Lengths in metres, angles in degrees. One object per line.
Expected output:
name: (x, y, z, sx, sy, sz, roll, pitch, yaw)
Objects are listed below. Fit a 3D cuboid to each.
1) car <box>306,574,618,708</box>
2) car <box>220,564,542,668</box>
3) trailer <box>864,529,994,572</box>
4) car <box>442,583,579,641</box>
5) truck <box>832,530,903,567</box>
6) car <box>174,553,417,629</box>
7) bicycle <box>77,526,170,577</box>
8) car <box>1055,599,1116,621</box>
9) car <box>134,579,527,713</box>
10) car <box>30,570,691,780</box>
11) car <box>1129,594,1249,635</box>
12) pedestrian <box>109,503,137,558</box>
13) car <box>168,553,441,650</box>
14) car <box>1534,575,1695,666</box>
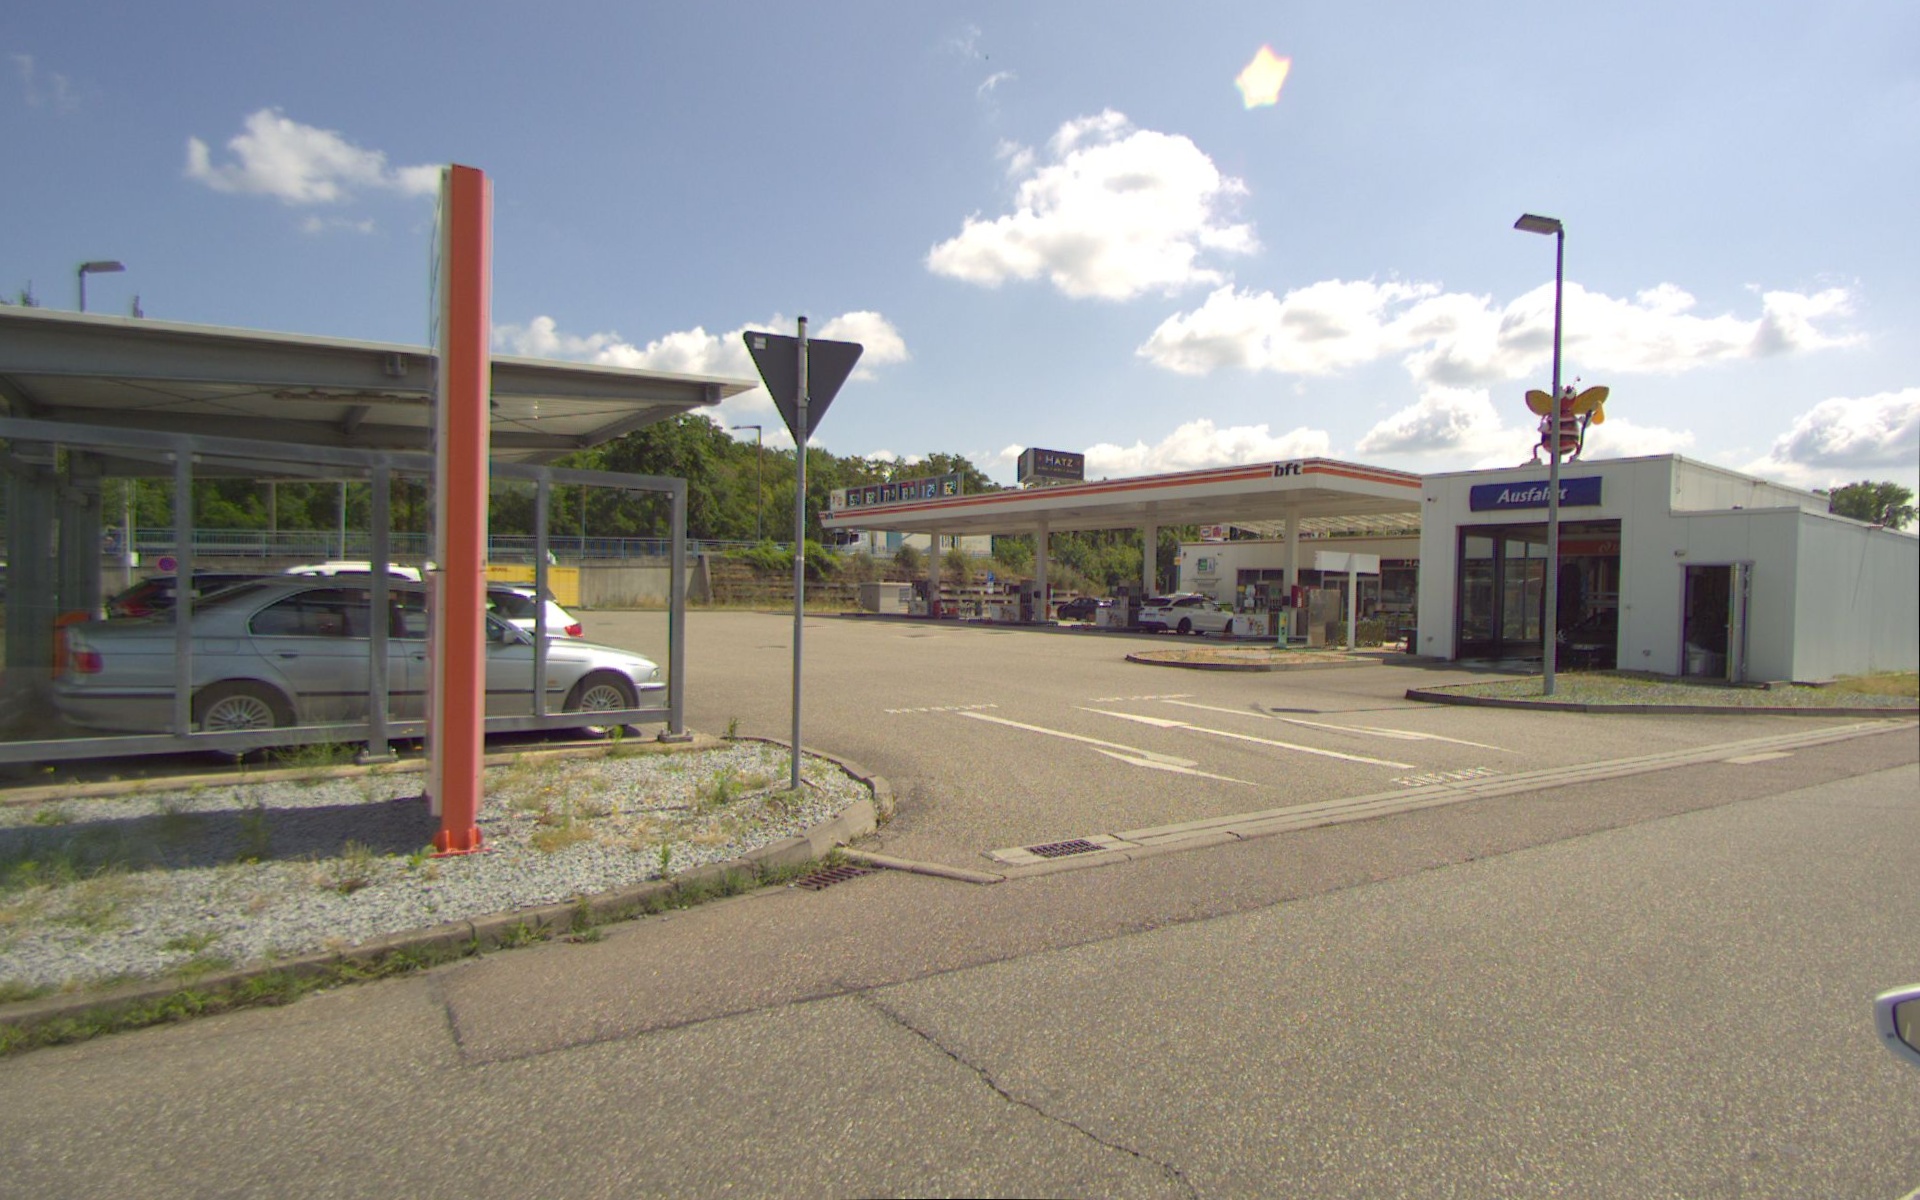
car: (-5.831, 0.438, 11.851, 3.029, 1.363, 1.581, 2, 1, -38)
car: (-9.229, 0.268, 16.186, 4.278, 1.457, 1.875, 2, 0, -38)
trailer: (-2.486, -4.257, 88.765, 13.398, 3.004, 2.124, 2, 0, -43)
car: (-12.839, 0.302, 28.579, 4.465, 1.508, 1.913, 1, 0, 42)
truck: (-7.695, -4.243, 84.044, 5.803, 2.661, 2.124, 2, 0, -43)
car: (-15.435, -0.159, 23.476, 4.557, 1.573, 1.978, 2, 0, -38)
bicycle: (-31.764, -1.820, 38.172, 2.673, 1.773, 0.528, 2, 0, -43)
car: (8.725, 0.708, 69.950, 1.984, 1.412, 3.953, 2, 0, -40)
car: (-8.284, 0.532, 13.461, 4.214, 1.517, 1.978, 1, 1, -38)
car: (-5.063, 0.538, 9.044, 4.754, 1.396, 1.900, 2, 1, -41)
car: (8.798, 0.556, 38.522, 4.538, 1.450, 1.881, 2, 0, -34)
pedestrian: (-31.743, -2.616, 38.082, 0.763, 2.021, 0.584, 1, 0, -42)
car: (-13.486, 0.069, 20.840, 4.557, 1.802, 1.978, 2, 0, -38)
car: (16.847, 0.530, 25.752, 4.966, 2.137, 1.978, 2, 0, -38)
